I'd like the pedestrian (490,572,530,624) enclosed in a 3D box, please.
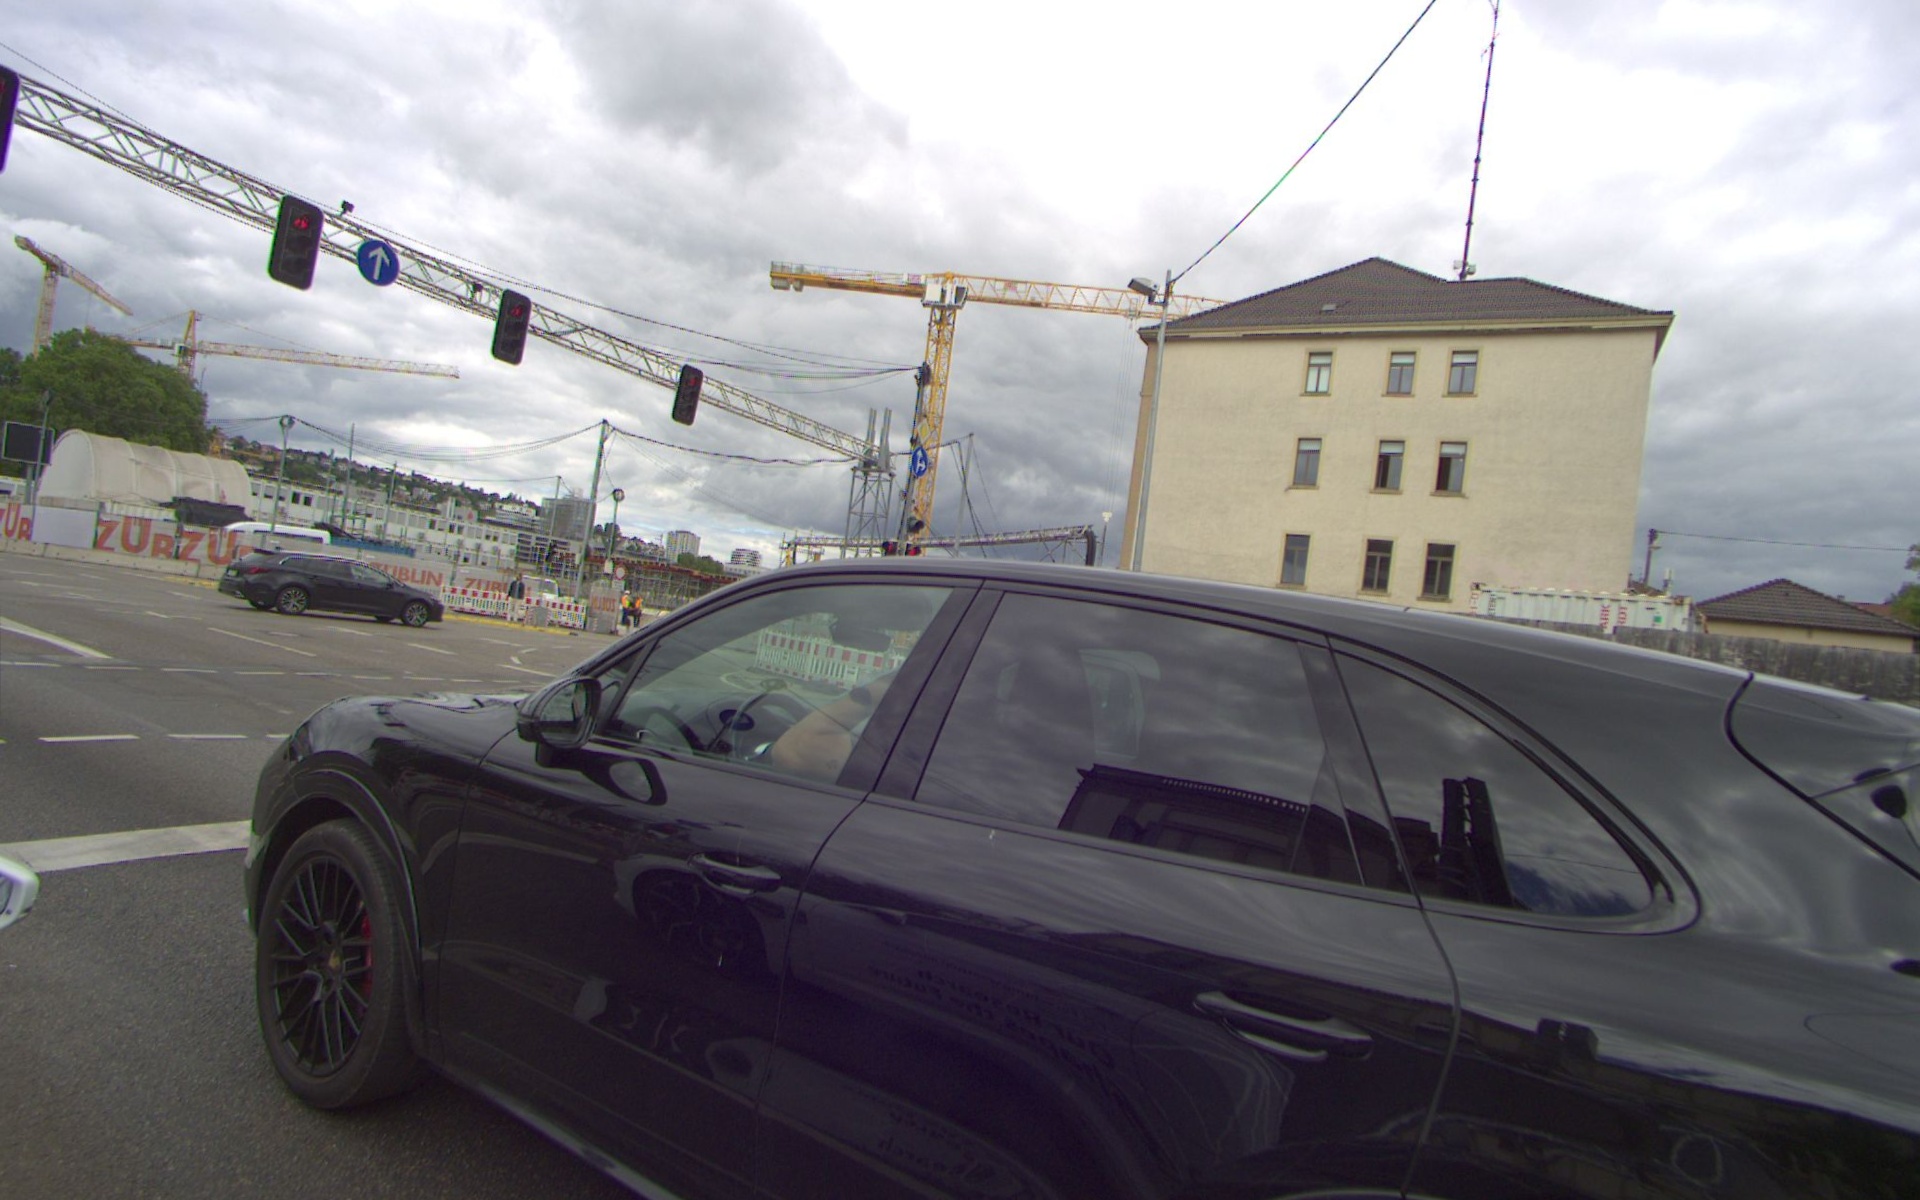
[{"bbox_3d":[-17.481,-0.082,39.089,1.040,1.869,0.781,8,-1,-42],"label":"pedestrian"}]

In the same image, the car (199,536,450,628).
[{"bbox_3d":[-14.772,-0.360,23.619,1.970,1.483,4.493,6,-3,37],"label":"car"}]

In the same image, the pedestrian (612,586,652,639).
[{"bbox_3d":[-13.607,0.530,41.757,1.040,2.037,1.022,8,-1,-43],"label":"pedestrian"}]

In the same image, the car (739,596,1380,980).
[{"bbox_3d":[0.578,0.986,6.551,3.587,1.527,1.825,6,-2,33],"label":"car"}]

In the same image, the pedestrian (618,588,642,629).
[{"bbox_3d":[-17.646,0.444,53.823,0.855,2.037,0.677,6,-1,44],"label":"pedestrian"}]

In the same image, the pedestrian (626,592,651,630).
[{"bbox_3d":[-17.504,0.600,54.759,0.850,1.938,0.680,7,-1,26],"label":"pedestrian"}]

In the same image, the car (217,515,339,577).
[{"bbox_3d":[-29.530,-2.326,43.640,3.976,2.037,1.976,9,-2,-43],"label":"car"}]

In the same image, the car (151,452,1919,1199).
[{"bbox_3d":[-0.003,0.677,2.714,4.505,1.687,1.996,6,-2,34],"label":"car"}]
